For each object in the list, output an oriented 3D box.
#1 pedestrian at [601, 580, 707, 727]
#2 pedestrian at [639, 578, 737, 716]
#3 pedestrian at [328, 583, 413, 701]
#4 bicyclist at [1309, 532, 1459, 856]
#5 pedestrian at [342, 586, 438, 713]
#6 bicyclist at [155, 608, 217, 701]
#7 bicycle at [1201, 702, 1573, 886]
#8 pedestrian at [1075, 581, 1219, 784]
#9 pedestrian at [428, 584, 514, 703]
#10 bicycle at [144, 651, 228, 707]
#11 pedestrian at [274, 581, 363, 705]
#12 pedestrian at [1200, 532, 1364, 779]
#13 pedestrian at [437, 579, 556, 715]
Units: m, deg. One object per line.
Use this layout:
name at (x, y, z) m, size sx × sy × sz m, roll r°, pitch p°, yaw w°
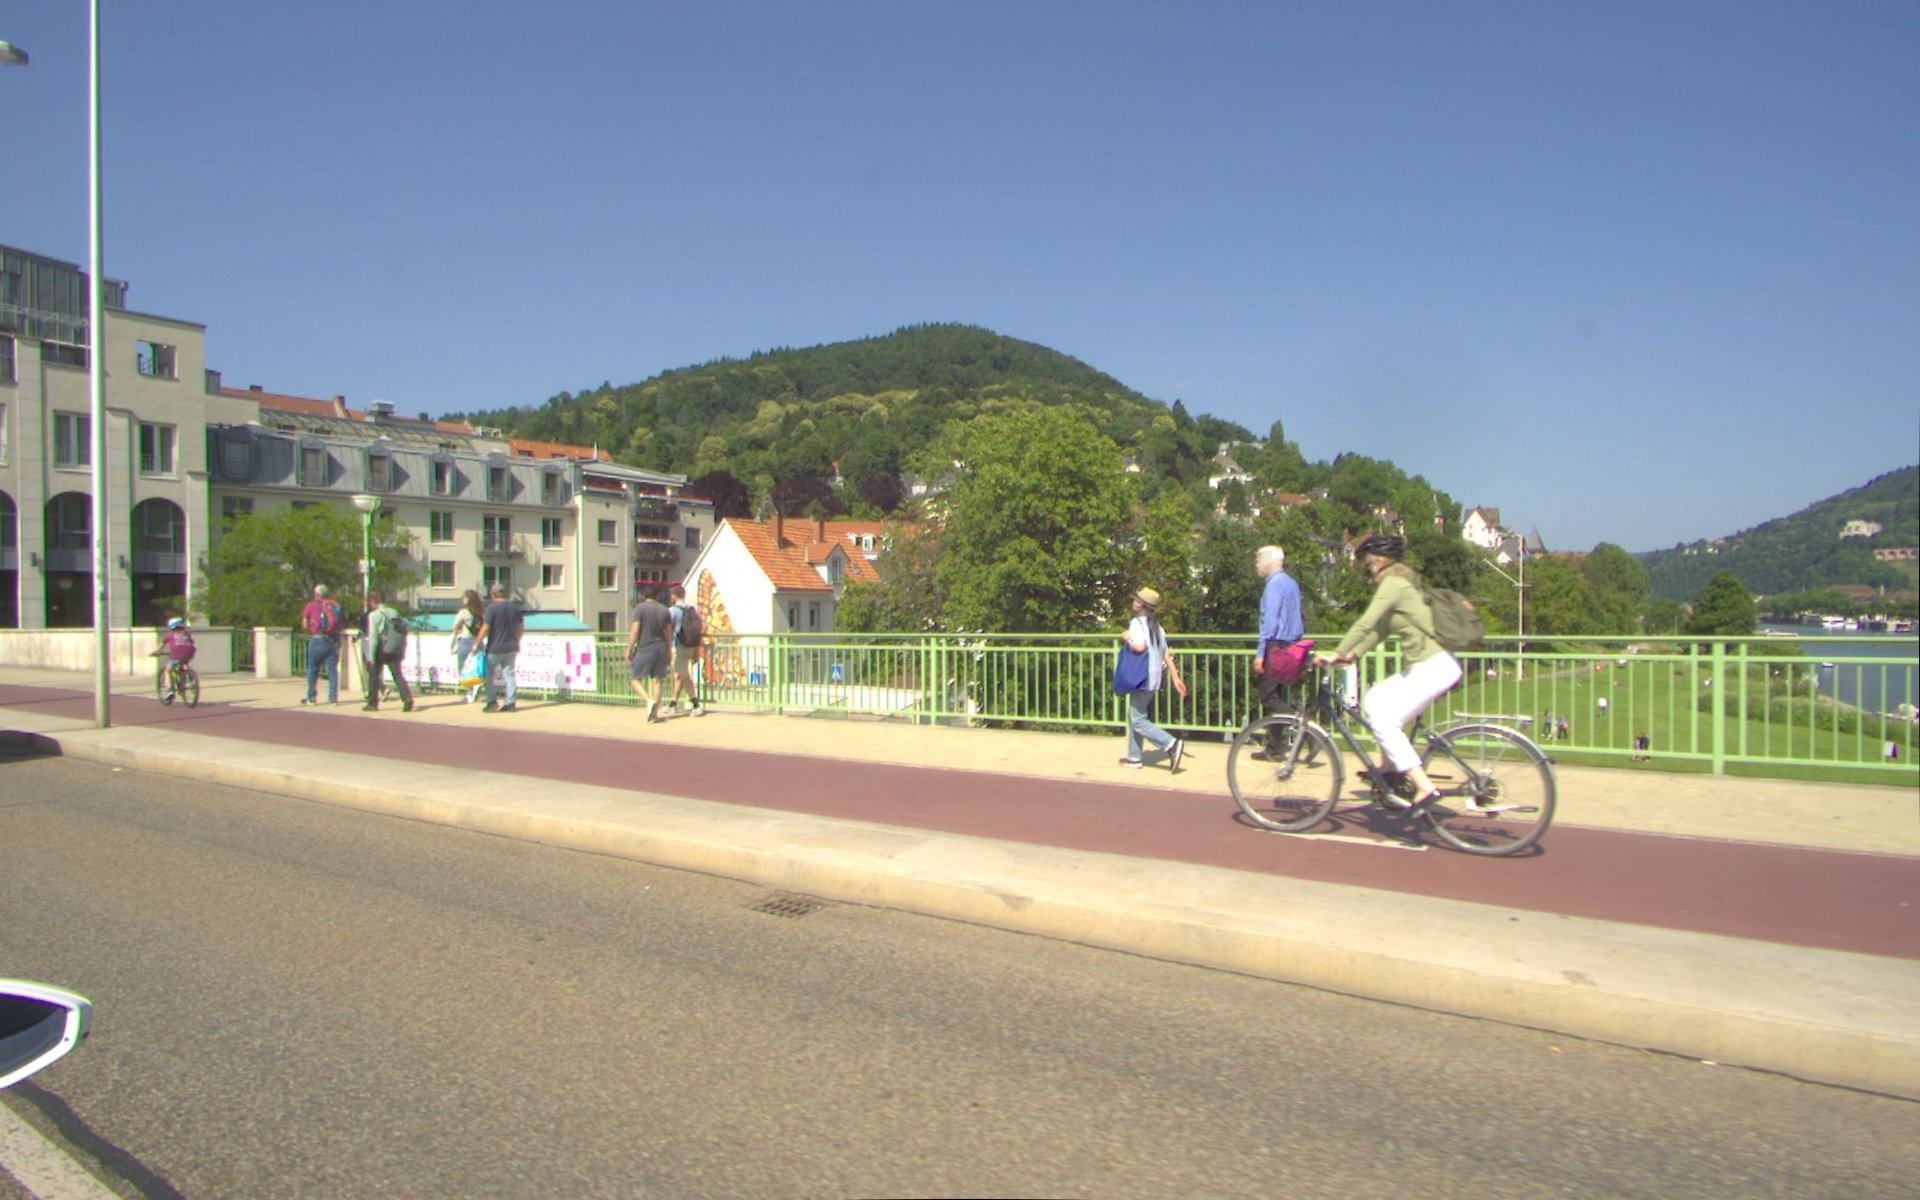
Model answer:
pedestrian at (-3.794, 0.634, 12.428) m, size 1.001 × 1.741 × 0.737 m, roll 0°, pitch 2°, yaw 32°
pedestrian at (-3.580, 0.601, 13.198) m, size 1.001 × 1.741 × 0.737 m, roll 0°, pitch 1°, yaw 32°
pedestrian at (-9.376, 0.651, 15.929) m, size 1.001 × 1.801 × 0.737 m, roll 0°, pitch 2°, yaw 32°
bicyclist at (2.374, 0.491, 5.590) m, size 0.692 × 1.672 × 0.585 m, roll 0°, pitch 1°, yaw 31°
pedestrian at (-8.166, 0.679, 14.348) m, size 1.058 × 1.741 × 0.752 m, roll 0°, pitch 2°, yaw 32°
bicyclist at (-12.055, 0.836, 15.594) m, size 0.659 × 1.402 × 0.532 m, roll 0°, pitch 2°, yaw 33°
bicycle at (2.349, 1.022, 5.621) m, size 1.839 × 0.776 × 0.592 m, roll -1°, pitch 1°, yaw 30°
pedestrian at (1.553, 0.631, 8.262) m, size 0.920 × 1.550 × 0.827 m, roll 0°, pitch 2°, yaw 32°
pedestrian at (-7.593, 0.653, 15.546) m, size 1.001 × 1.770 × 0.737 m, roll 0°, pitch 2°, yaw 32°
bicycle at (-12.090, 1.217, 15.627) m, size 1.637 × 0.776 × 0.512 m, roll -1°, pitch 1°, yaw 33°
pedestrian at (-9.779, 0.636, 15.272) m, size 1.001 × 1.826 × 0.737 m, roll 0°, pitch 2°, yaw 32°
pedestrian at (2.731, 0.440, 8.472) m, size 1.121 × 1.923 × 0.924 m, roll 0°, pitch 1°, yaw 32°
pedestrian at (-6.470, 0.620, 13.987) m, size 1.190 × 1.801 × 0.975 m, roll 0°, pitch 1°, yaw 32°
